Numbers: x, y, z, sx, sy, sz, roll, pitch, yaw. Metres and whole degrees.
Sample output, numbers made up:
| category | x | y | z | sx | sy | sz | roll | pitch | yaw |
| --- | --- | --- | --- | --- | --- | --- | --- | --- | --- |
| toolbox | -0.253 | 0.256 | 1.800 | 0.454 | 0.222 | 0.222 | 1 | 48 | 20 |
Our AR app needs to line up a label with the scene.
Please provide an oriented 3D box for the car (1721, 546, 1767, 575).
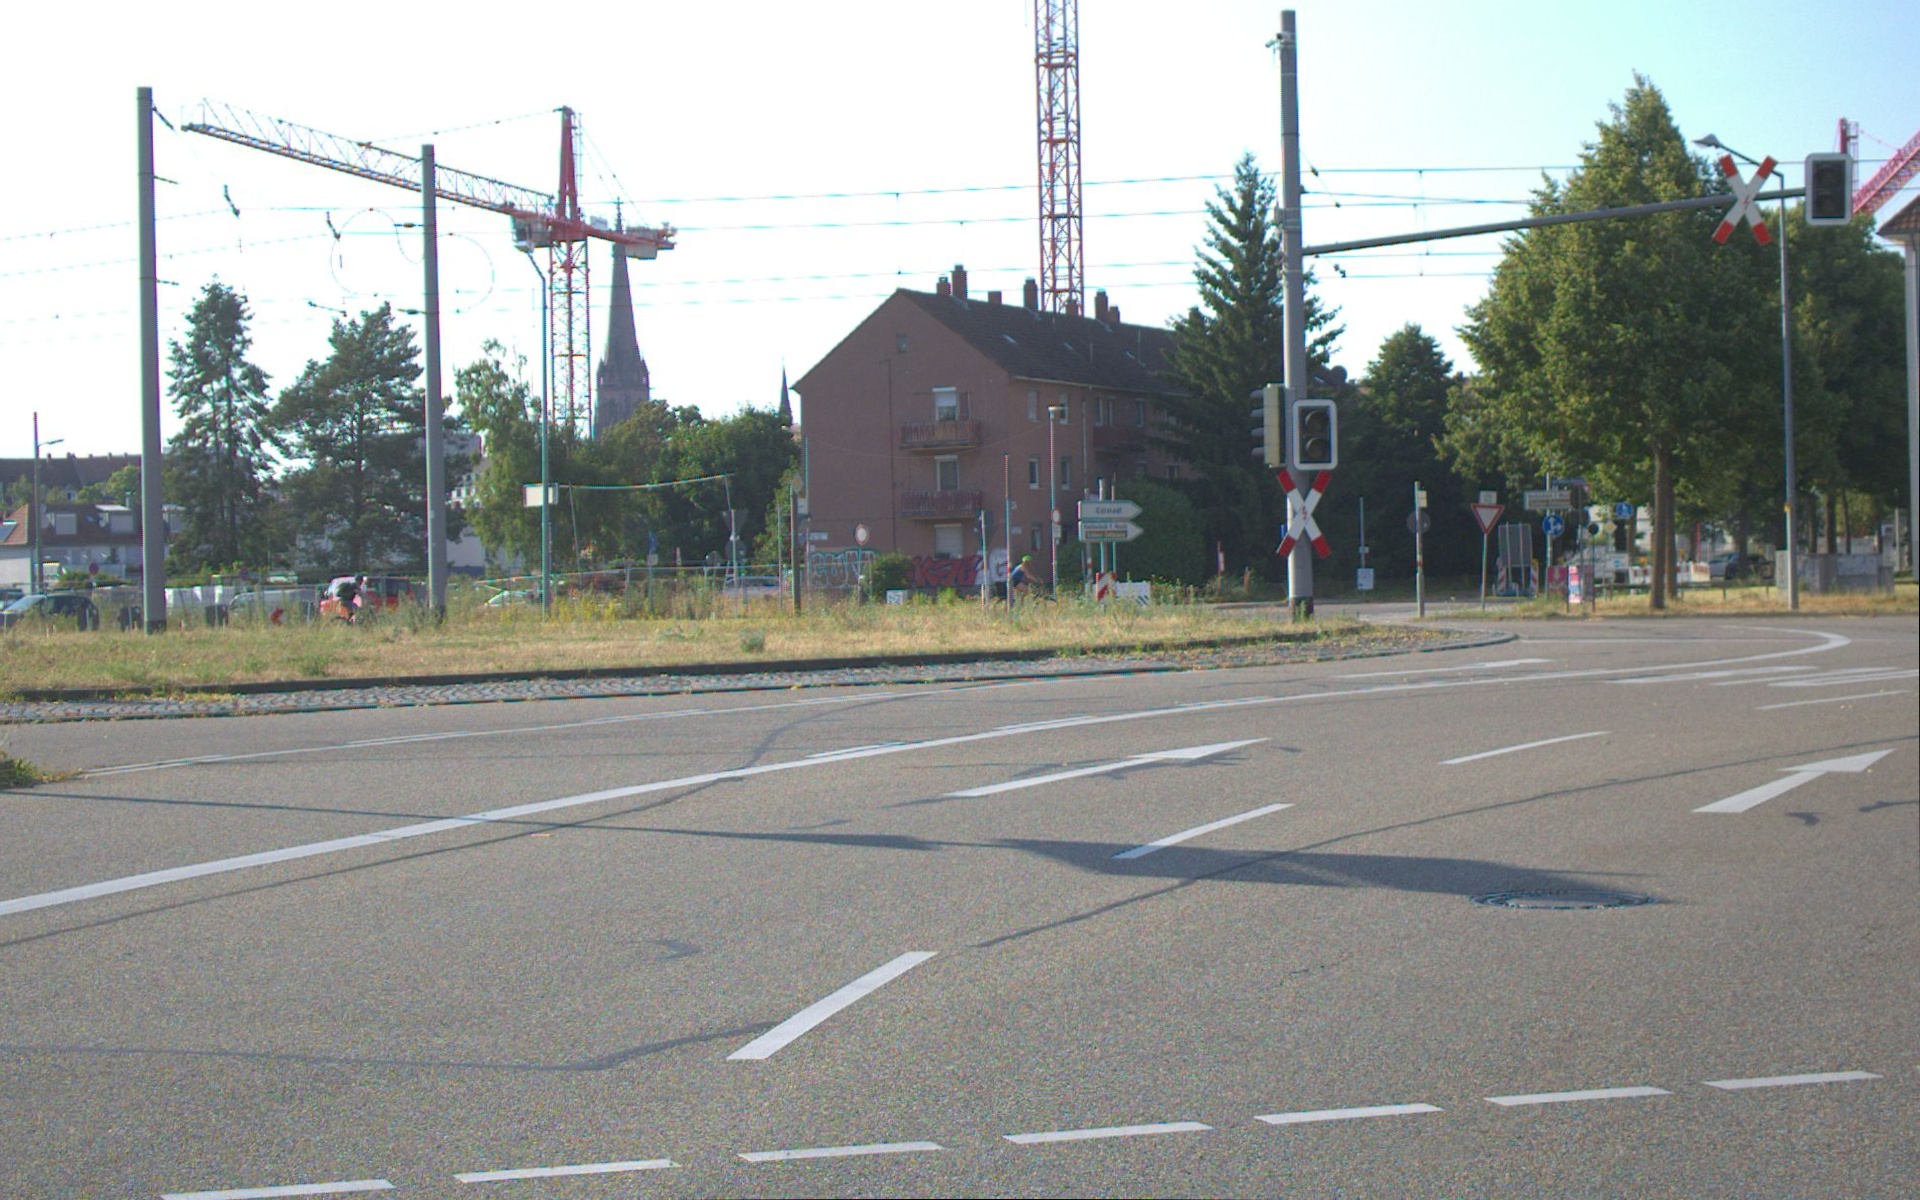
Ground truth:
| category | x | y | z | sx | sy | sz | roll | pitch | yaw |
| --- | --- | --- | --- | --- | --- | --- | --- | --- | --- |
| car | 37.275 | -1.892 | 163.459 | 1.457 | 1.295 | 3.544 | -1 | 1 | 24 |

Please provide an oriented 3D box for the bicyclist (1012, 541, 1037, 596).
| category | x | y | z | sx | sy | sz | roll | pitch | yaw |
| --- | --- | --- | --- | --- | --- | --- | --- | --- | --- |
| bicyclist | 1.793 | -0.865 | 95.325 | 0.622 | 1.506 | 0.419 | -1 | 1 | -5 |

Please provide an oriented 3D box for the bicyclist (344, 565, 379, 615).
| category | x | y | z | sx | sy | sz | roll | pitch | yaw |
| --- | --- | --- | --- | --- | --- | --- | --- | --- | --- |
| bicyclist | -16.832 | -0.277 | 96.677 | 0.897 | 1.391 | 0.526 | -1 | 1 | -5 |

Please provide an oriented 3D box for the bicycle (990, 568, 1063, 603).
| category | x | y | z | sx | sy | sz | roll | pitch | yaw |
| --- | --- | --- | --- | --- | --- | --- | --- | --- | --- |
| bicycle | 1.843 | -0.394 | 95.336 | 1.987 | 0.915 | 0.430 | -1 | 1 | -6 |

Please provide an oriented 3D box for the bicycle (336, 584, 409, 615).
| category | x | y | z | sx | sy | sz | roll | pitch | yaw |
| --- | --- | --- | --- | --- | --- | --- | --- | --- | --- |
| bicycle | -16.518 | -0.017 | 96.638 | 1.987 | 0.822 | 0.430 | -1 | 1 | -6 |

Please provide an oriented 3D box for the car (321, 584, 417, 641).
| category | x | y | z | sx | sy | sz | roll | pitch | yaw |
| --- | --- | --- | --- | --- | --- | --- | --- | --- | --- |
| car | -19.972 | 0.396 | 116.112 | 1.919 | 1.847 | 4.000 | -2 | 1 | -29 |

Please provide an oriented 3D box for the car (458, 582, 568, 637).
| category | x | y | z | sx | sy | sz | roll | pitch | yaw |
| --- | --- | --- | --- | --- | --- | --- | --- | --- | --- |
| car | -17.223 | 0.364 | 132.421 | 3.812 | 2.007 | 1.670 | -1 | 0 | 19 |
